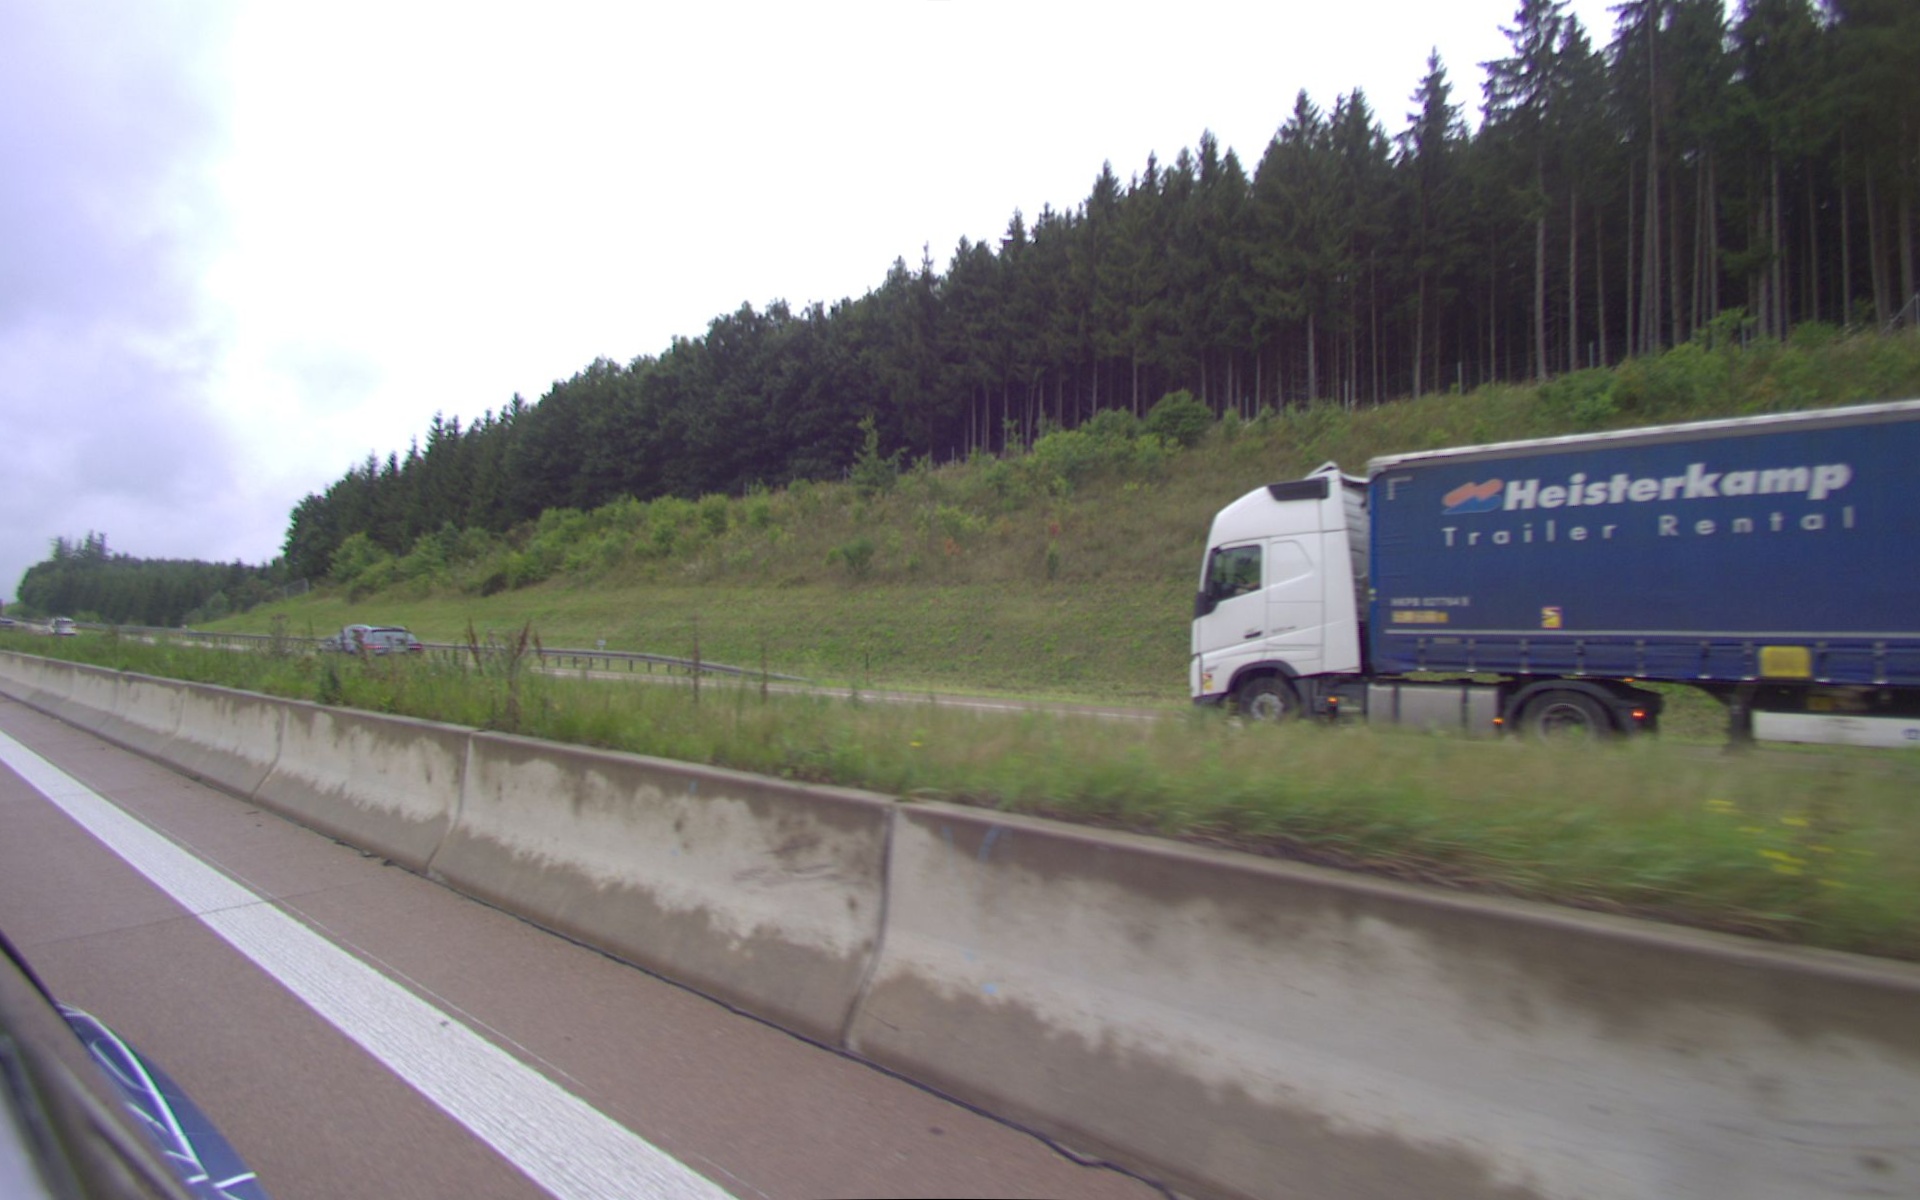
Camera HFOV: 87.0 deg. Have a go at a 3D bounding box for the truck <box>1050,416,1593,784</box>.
[{"bbox_3d":[5.241,0.046,15.682,7.400,4.423,2.893,-1,-2,41],"label":"truck"}]

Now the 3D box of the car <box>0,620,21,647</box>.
[{"bbox_3d":[-68.151,2.383,71.605,5.323,1.789,2.027,0,0,42],"label":"car"}]

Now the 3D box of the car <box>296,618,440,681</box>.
[{"bbox_3d":[-18.536,1.439,31.521,6.381,1.705,2.027,0,0,42],"label":"car"}]

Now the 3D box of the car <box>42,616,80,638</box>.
[{"bbox_3d":[-75.800,2.292,85.279,4.950,1.736,1.794,0,-3,42],"label":"car"}]

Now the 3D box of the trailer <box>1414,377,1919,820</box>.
[{"bbox_3d":[11.919,0.004,9.743,13.574,4.372,2.888,0,-2,42],"label":"trailer"}]
